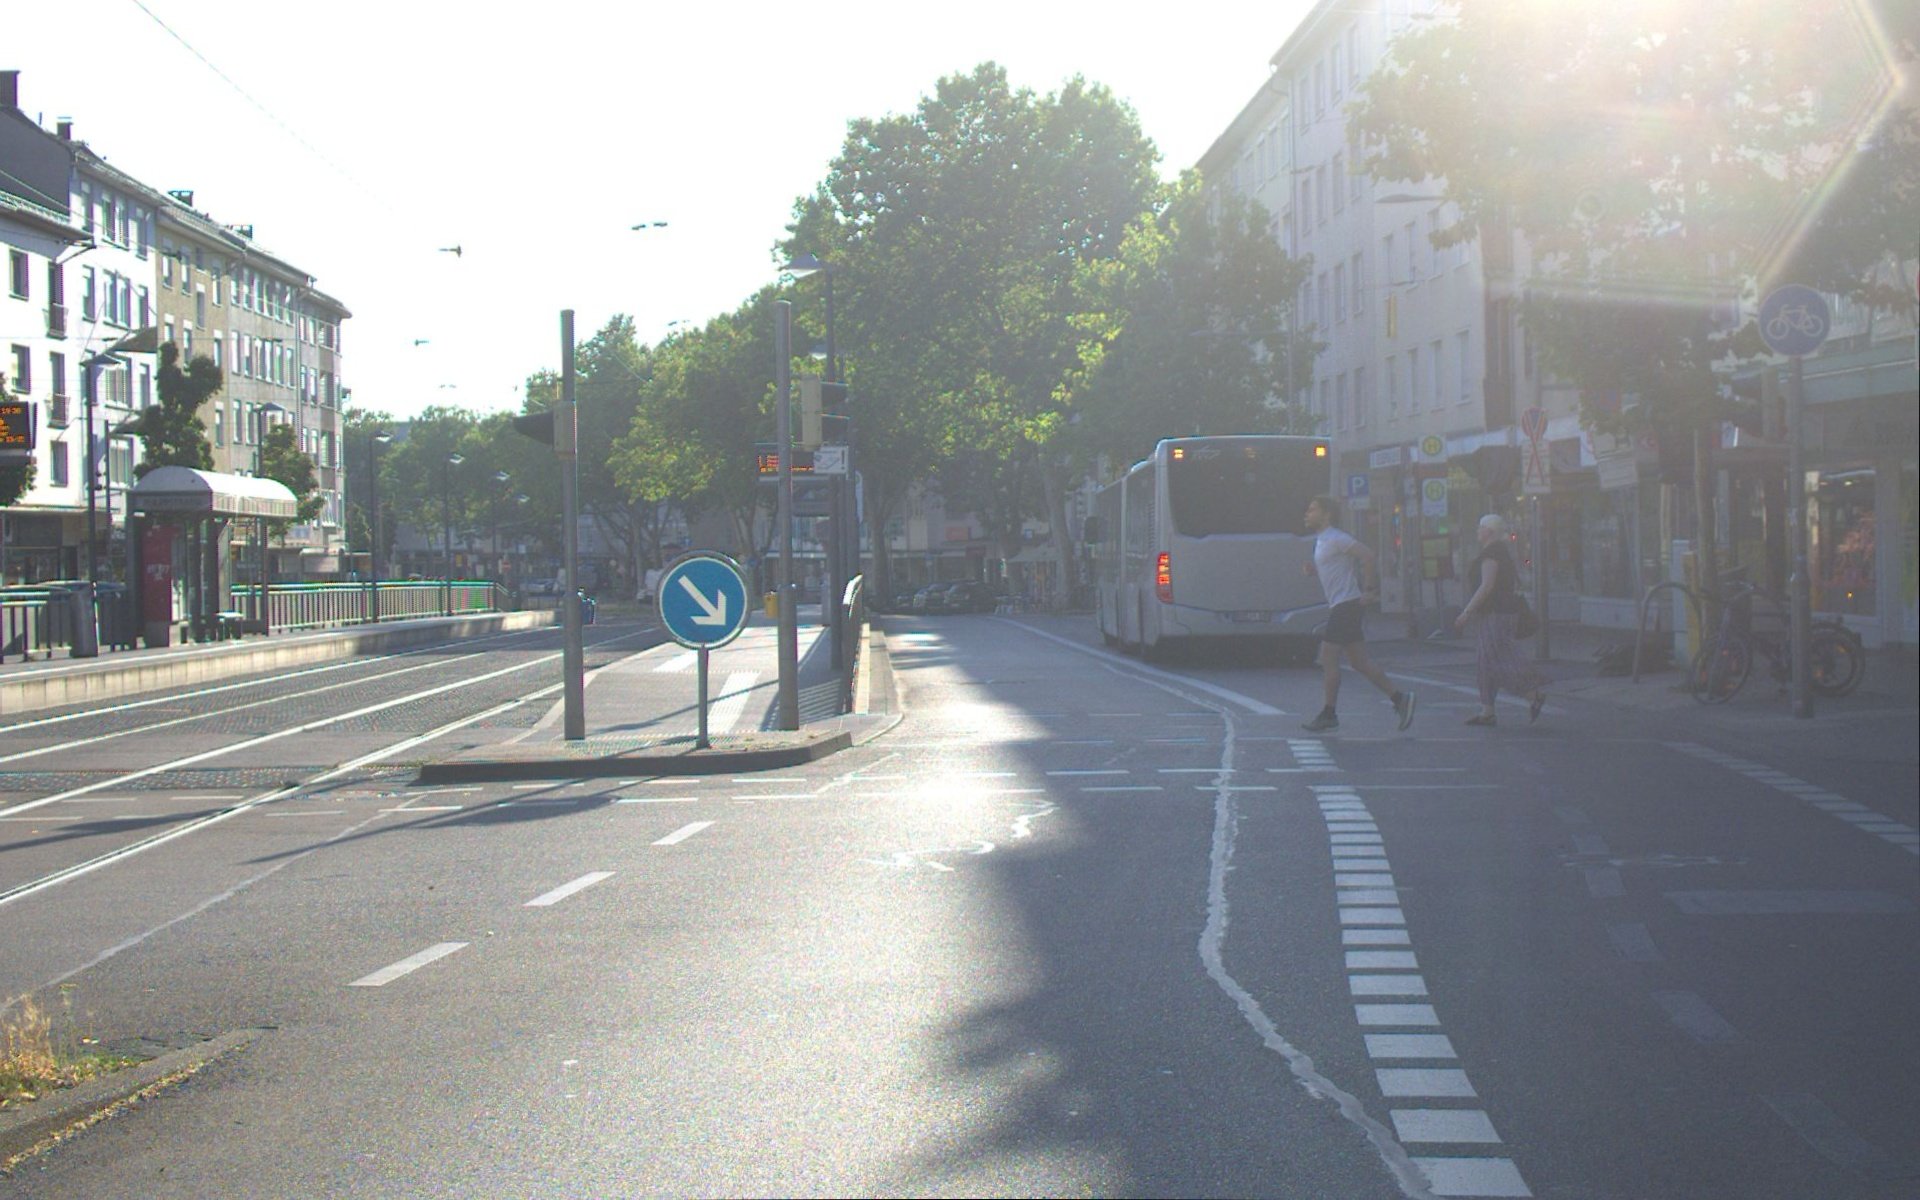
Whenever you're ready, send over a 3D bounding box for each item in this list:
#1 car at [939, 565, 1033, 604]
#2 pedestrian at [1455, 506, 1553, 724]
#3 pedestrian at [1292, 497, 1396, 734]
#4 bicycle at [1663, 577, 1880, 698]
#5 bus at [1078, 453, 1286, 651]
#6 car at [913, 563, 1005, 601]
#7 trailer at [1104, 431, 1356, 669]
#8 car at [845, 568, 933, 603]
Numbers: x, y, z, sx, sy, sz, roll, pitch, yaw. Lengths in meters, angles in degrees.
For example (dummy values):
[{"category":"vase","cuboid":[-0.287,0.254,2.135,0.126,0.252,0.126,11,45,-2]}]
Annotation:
[{"category":"car","cuboid":[1.198,-0.728,158.463,3.889,1.693,1.833,-2,1,-29]},{"category":"pedestrian","cuboid":[4.472,0.116,28.285,0.680,1.764,0.687,-1,1,0]},{"category":"pedestrian","cuboid":[2.902,0.111,26.031,0.680,1.764,0.687,-1,1,0]},{"category":"bicycle","cuboid":[7.381,0.337,31.326,1.772,1.018,0.694,-2,1,-1]},{"category":"bus","cuboid":[3.668,-0.816,58.944,2.812,3.091,9.095,1,1,-1]},{"category":"car","cuboid":[-0.065,-0.846,161.229,3.889,1.693,1.833,-2,1,-29]},{"category":"trailer","cuboid":[3.769,-0.717,50.002,2.812,3.100,8.795,1,1,-1]},{"category":"car","cuboid":[-3.427,-0.697,166.415,3.889,1.591,1.691,-2,1,-29]}]
